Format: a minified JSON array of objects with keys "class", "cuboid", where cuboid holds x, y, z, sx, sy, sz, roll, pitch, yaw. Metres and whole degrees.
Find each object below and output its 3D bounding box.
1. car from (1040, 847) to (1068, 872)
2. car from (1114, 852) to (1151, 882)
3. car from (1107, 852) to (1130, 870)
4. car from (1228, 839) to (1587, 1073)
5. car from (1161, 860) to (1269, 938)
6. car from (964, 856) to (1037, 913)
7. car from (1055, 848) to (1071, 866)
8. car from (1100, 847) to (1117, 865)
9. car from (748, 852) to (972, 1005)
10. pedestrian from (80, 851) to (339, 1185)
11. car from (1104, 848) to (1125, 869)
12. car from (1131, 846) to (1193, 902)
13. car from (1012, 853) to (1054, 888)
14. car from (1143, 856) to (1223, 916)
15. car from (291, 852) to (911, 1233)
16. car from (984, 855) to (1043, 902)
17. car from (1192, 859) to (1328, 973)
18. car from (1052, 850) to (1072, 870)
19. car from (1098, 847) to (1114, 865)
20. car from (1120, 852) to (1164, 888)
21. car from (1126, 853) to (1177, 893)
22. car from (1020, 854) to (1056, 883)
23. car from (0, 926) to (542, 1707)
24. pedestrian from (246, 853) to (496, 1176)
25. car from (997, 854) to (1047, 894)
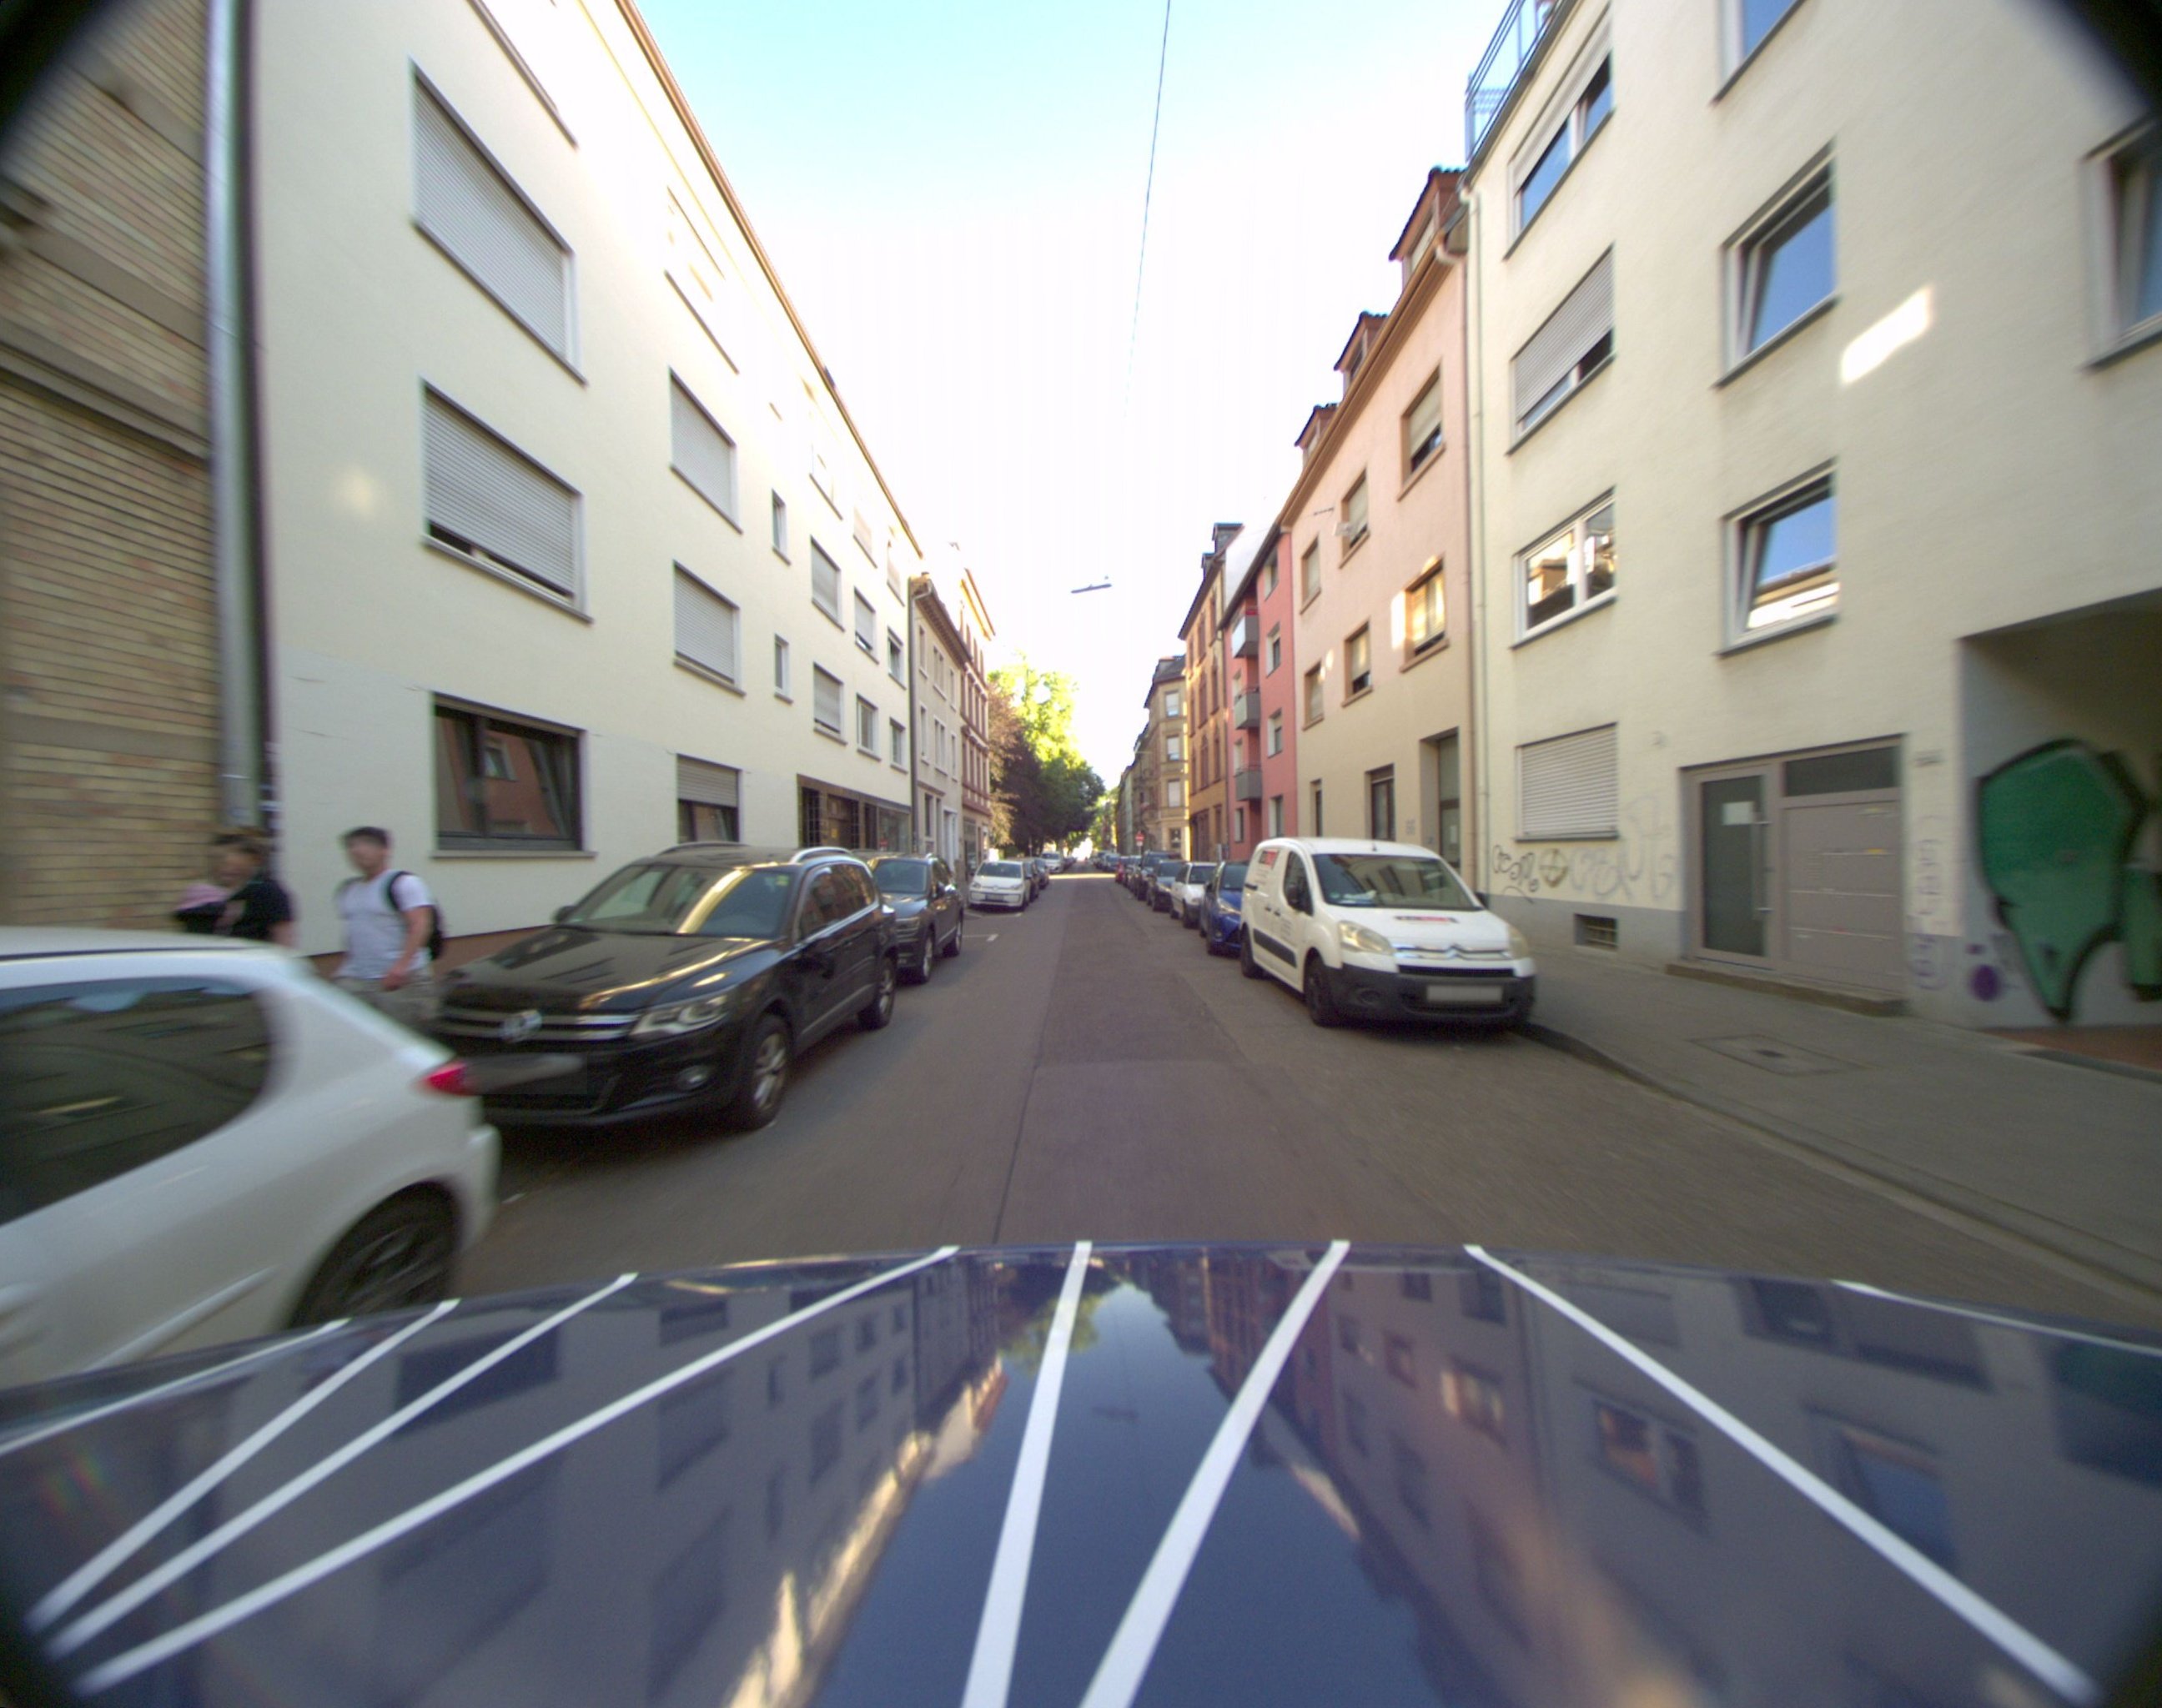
[{"class":"car","cuboid":[-2.267,0.431,64.889,1.866,1.970,4.481,2,1,4]},{"class":"car","cuboid":[2.855,0.700,42.565,1.768,1.524,4.102,2,1,0]},{"class":"car","cuboid":[3.199,0.567,66.095,1.768,1.463,3.932,2,1,0]},{"class":"car","cuboid":[2.890,0.756,7.907,1.754,1.731,4.314,2,1,-1]},{"class":"car","cuboid":[2.904,0.918,17.319,1.675,1.450,4.084,2,1,0]},{"class":"car","cuboid":[-2.406,0.880,23.577,1.768,1.508,4.102,2,1,0]},{"class":"car","cuboid":[-2.118,0.296,90.144,1.768,2.006,4.263,2,1,0]},{"class":"car","cuboid":[3.079,0.205,85.541,1.768,1.915,4.263,2,1,0]},{"class":"car","cuboid":[-2.824,0.845,10.805,1.886,1.657,4.327,2,1,0]},{"class":"pedestrian","cuboid":[-4.822,0.845,4.254,0.599,1.699,0.706,2,1,0]},{"class":"car","cuboid":[3.108,0.400,71.472,1.768,1.846,3.992,2,1,0]},{"class":"car","cuboid":[2.822,0.638,27.349,1.768,1.814,4.102,2,1,0]},{"class":"car","cuboid":[-2.295,0.759,37.580,1.768,1.524,4.102,2,1,0]},{"class":"car","cuboid":[2.841,0.852,22.001,1.768,1.464,3.815,2,1,0]},{"class":"car","cuboid":[-2.695,0.861,5.641,1.770,1.657,4.328,2,1,1]},{"class":"car","cuboid":[-2.407,0.851,27.965,1.768,1.524,4.102,1,1,0]},{"class":"car","cuboid":[2.848,0.891,12.891,1.674,1.519,4.086,2,1,6]},{"class":"car","cuboid":[-1.753,0.520,71.489,1.768,1.846,4.285,-1,1,0]},{"class":"car","cuboid":[2.999,0.182,92.245,1.768,2.075,4.263,2,1,0]},{"class":"car","cuboid":[2.895,0.729,36.774,1.768,1.524,4.102,2,1,0]},{"class":"car","cuboid":[2.922,0.750,32.305,1.768,1.524,4.102,1,1,0]},{"class":"car","cuboid":[-2.376,0.781,43.026,1.768,1.524,4.102,2,1,0]},{"class":"car","cuboid":[-2.796,1.033,0.863,1.598,1.442,4.002,2,1,-2]},{"class":"pedestrian","cuboid":[-4.084,0.860,4.436,0.712,1.699,0.752,2,1,0]},{"class":"car","cuboid":[-2.455,0.791,32.430,1.768,1.524,4.102,1,1,0]}]
